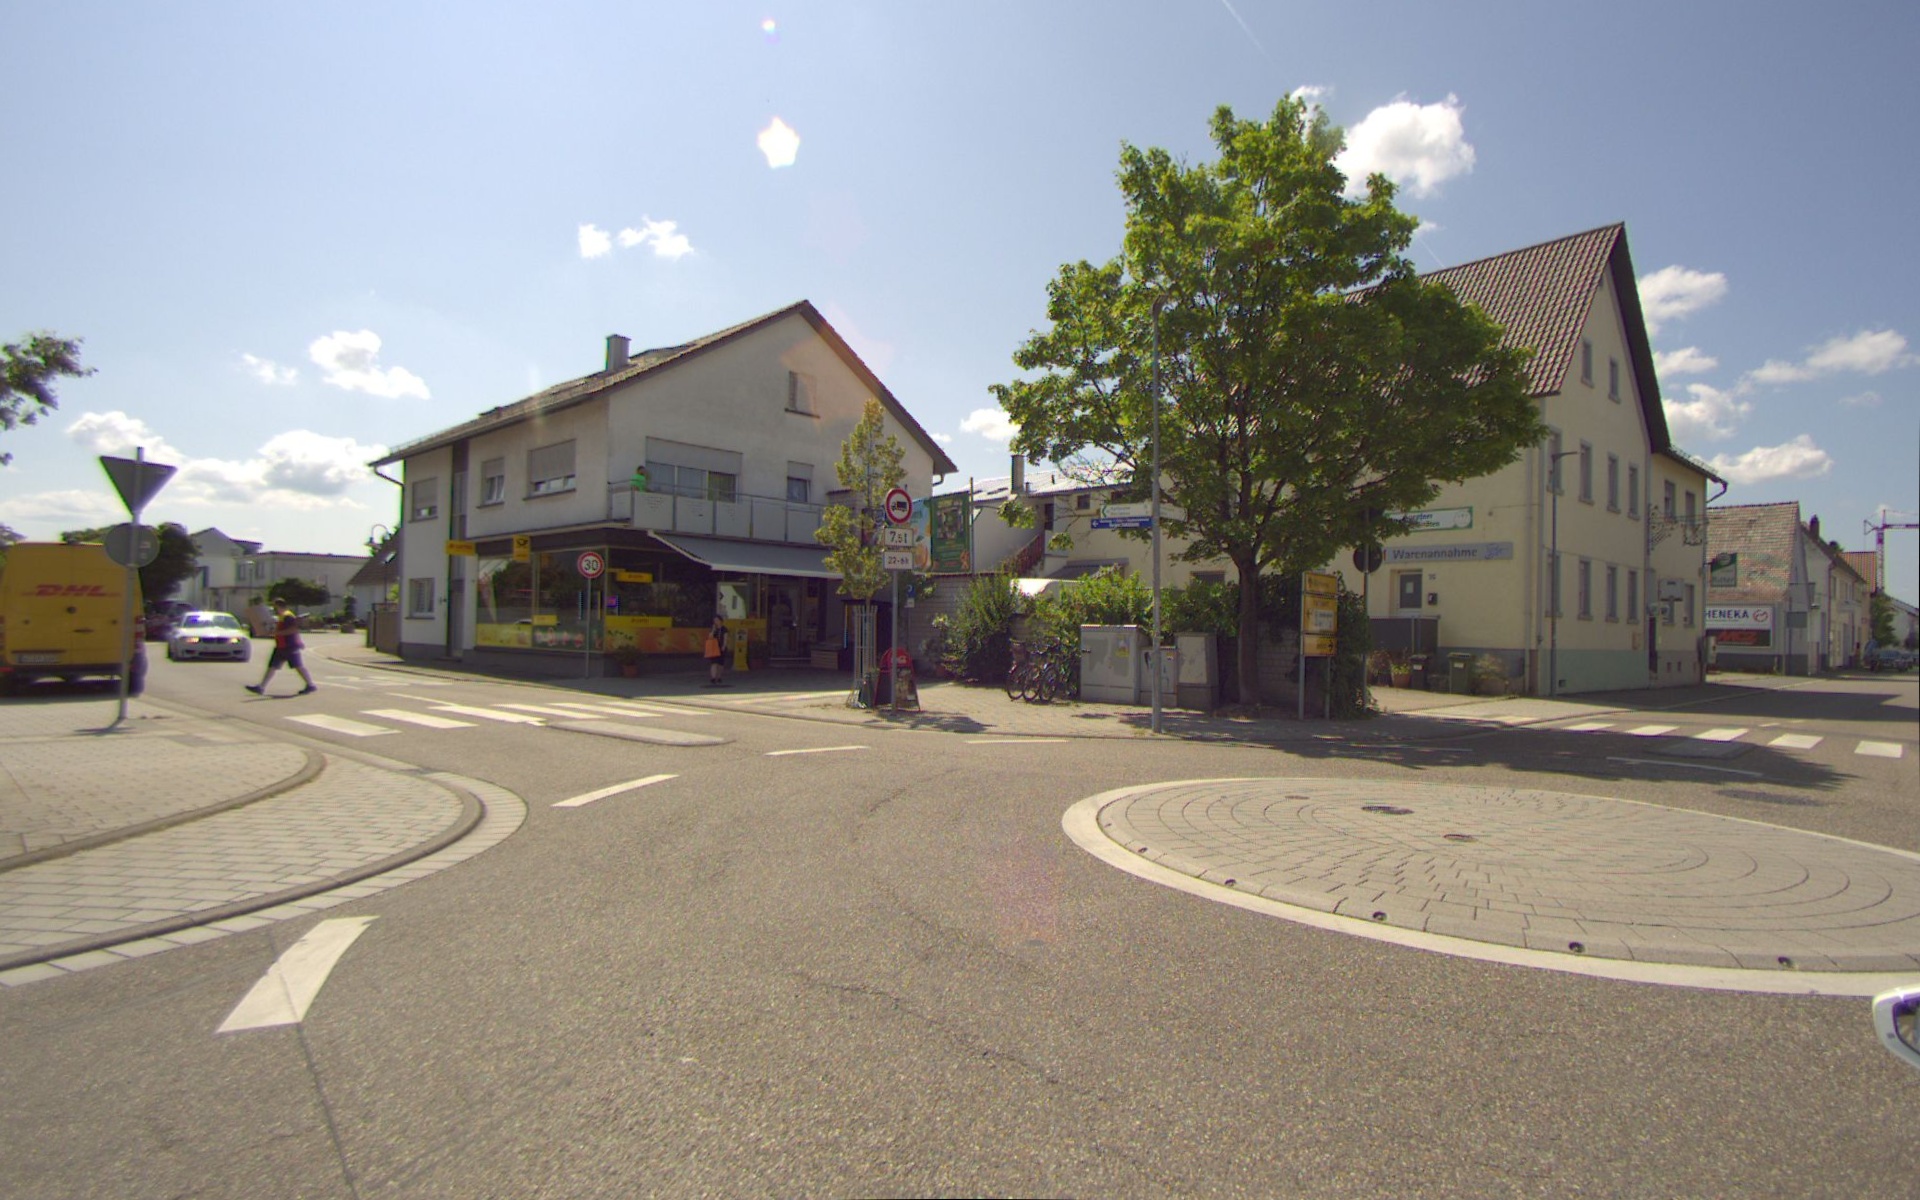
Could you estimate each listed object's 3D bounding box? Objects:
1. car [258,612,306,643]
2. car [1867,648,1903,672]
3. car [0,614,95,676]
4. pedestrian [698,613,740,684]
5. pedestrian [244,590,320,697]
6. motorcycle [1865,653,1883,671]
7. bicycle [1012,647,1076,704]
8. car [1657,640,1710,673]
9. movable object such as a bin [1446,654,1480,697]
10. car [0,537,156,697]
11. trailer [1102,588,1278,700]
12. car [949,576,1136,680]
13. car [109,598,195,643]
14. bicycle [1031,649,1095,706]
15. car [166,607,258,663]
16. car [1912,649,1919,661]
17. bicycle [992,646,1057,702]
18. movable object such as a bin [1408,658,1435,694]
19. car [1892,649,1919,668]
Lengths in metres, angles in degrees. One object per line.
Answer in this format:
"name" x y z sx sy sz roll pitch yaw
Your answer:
"car" -36.150 1.449 53.647 1.859 1.368 4.380 3 -1 -31
"car" 66.983 4.315 72.701 1.791 1.610 3.975 1 -2 45
"car" -22.007 1.034 24.013 1.770 1.261 3.930 2 -1 -38
"pedestrian" -5.552 1.108 23.186 0.735 1.610 0.880 1 0 2
"pedestrian" -12.241 0.760 18.144 0.772 1.850 1.017 1 0 44
"motorcycle" 63.908 4.351 70.228 0.837 1.185 2.454 2 -1 44
"bicycle" 1.720 1.508 20.394 0.394 1.017 1.977 0 0 33
"car" 38.275 2.965 53.118 1.701 1.576 4.174 2 -1 44
"movable object such as a bin" 13.256 1.981 26.481 0.653 1.093 0.594 2 -2 -42
"car" -16.738 0.341 19.172 2.095 2.607 5.620 2 -2 -39
"trailer" 5.517 1.012 23.739 4.493 2.366 1.860 3 -1 -44
"car" 2.412 0.789 27.923 5.609 2.601 1.918 3 -1 -44
"car" -35.395 0.864 44.136 1.847 1.857 3.952 2 -1 -23
"bicycle" 2.084 1.524 20.132 0.394 1.017 1.977 0 0 33
"car" -22.934 1.041 30.730 1.867 1.468 4.281 3 -1 -42
"car" 133.722 7.722 139.643 1.791 1.610 3.975 1 -2 45
"bicycle" 1.342 1.491 20.628 0.394 1.017 1.977 0 0 33
"movable object such as a bin" 12.482 2.051 27.160 0.543 0.940 0.475 2 -2 -42
"car" 84.535 5.242 89.728 1.791 1.610 3.975 1 -2 45
